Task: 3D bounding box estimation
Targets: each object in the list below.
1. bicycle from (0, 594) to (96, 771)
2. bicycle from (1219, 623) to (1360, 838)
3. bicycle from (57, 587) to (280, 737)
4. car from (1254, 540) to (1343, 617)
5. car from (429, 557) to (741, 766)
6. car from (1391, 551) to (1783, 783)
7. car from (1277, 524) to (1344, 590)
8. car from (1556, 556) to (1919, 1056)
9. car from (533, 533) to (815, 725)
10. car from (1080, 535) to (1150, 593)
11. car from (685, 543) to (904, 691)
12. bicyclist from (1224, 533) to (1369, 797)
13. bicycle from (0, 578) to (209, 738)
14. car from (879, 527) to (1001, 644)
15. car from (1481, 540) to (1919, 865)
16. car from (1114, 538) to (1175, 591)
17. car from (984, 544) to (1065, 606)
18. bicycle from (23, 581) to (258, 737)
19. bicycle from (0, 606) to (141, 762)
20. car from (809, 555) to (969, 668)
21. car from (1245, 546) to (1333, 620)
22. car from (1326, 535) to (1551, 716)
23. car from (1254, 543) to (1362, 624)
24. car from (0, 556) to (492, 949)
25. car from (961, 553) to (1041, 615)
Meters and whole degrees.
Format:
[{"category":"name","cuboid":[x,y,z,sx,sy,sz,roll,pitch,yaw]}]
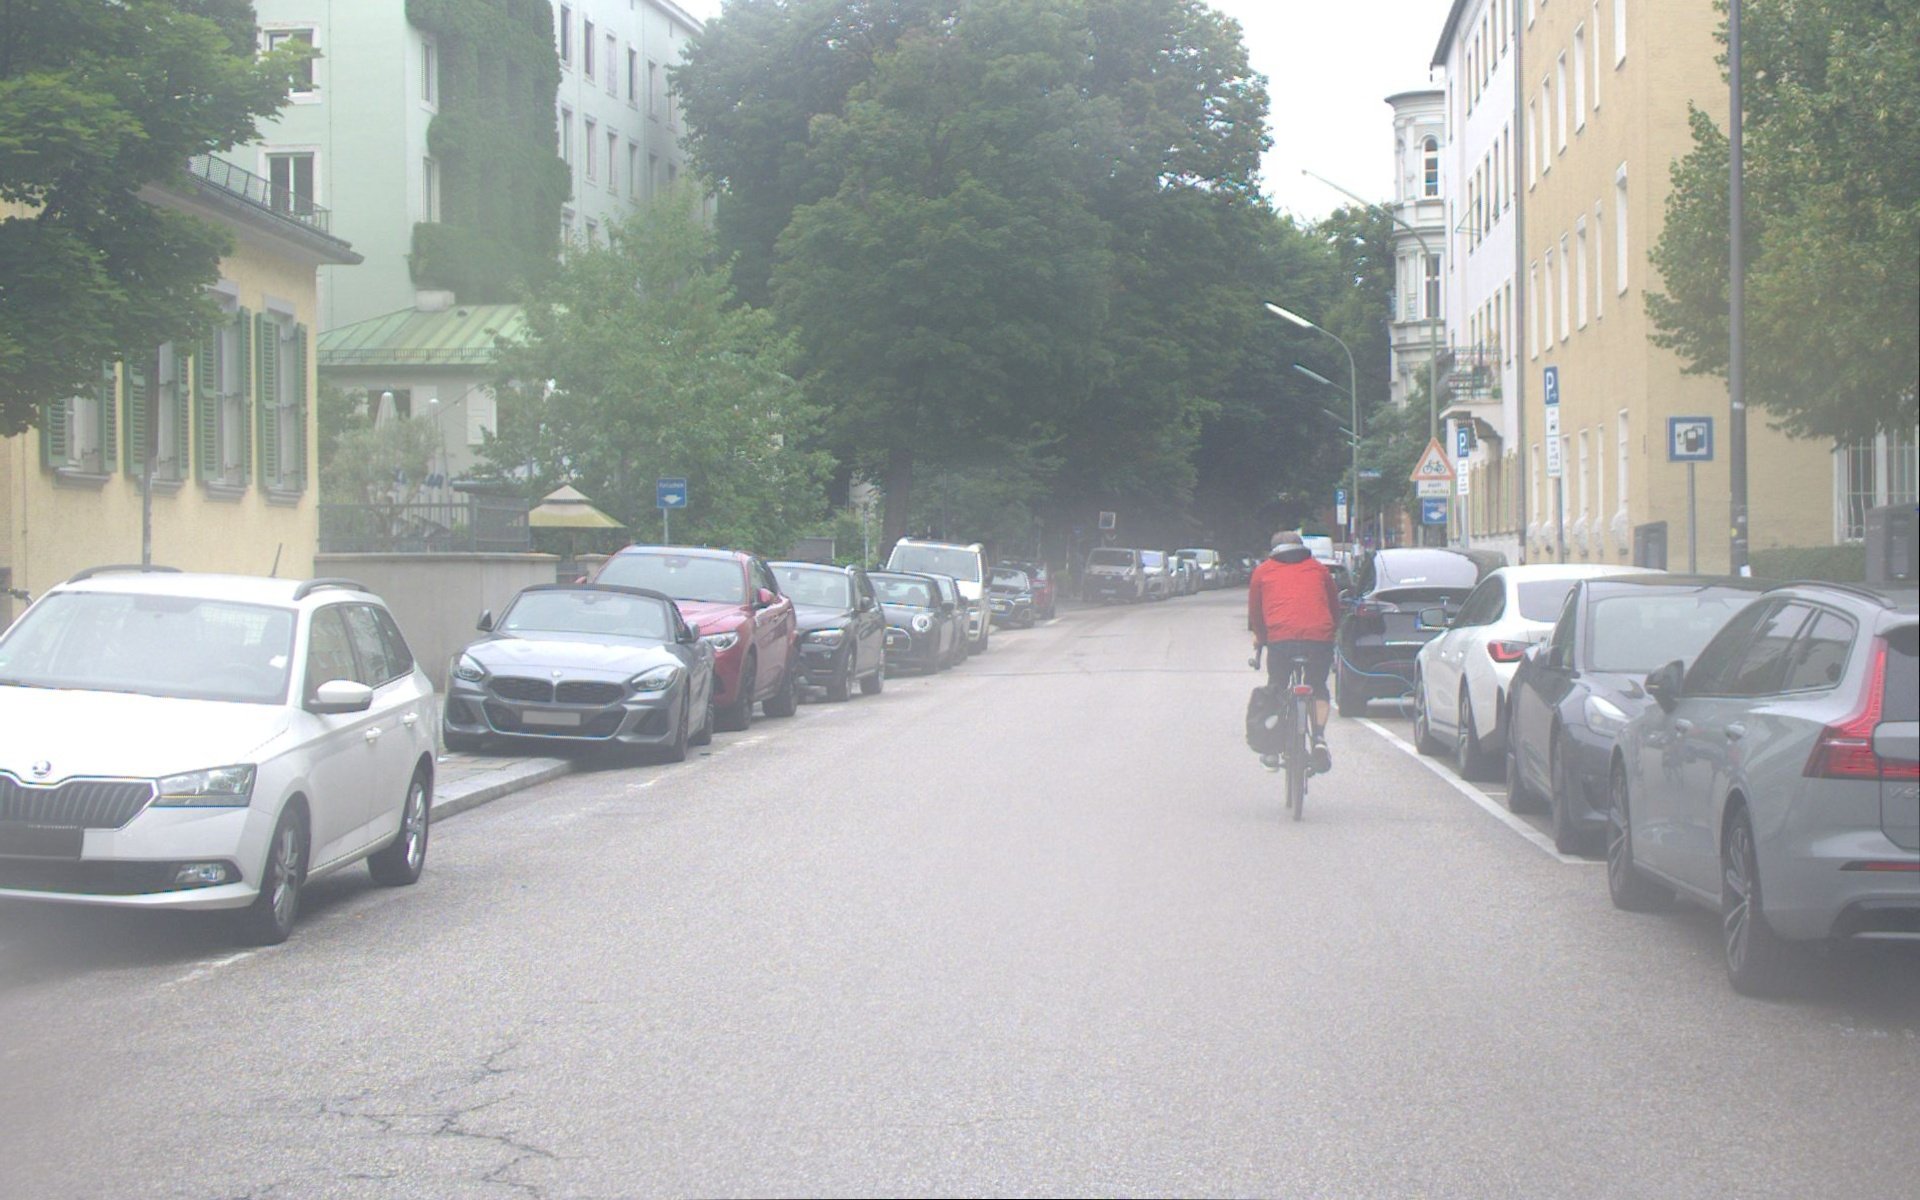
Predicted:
[{"category":"bicycle","cuboid":[-6.353,0.527,21.652,1.629,1.084,0.638,-2,2,-36]},{"category":"bicycle","cuboid":[1.923,0.721,19.865,0.672,1.137,2.010,1,1,9]},{"category":"bicycle","cuboid":[-6.129,0.478,26.648,1.629,1.133,0.387,0,1,3]},{"category":"car","cuboid":[7.962,-0.533,81.280,1.994,1.701,4.534,1,1,5]},{"category":"car","cuboid":[-2.935,0.428,27.863,1.896,1.513,4.655,1,1,1]},{"category":"car","cuboid":[4.327,0.393,24.518,1.993,1.455,4.957,1,1,2]},{"category":"car","cuboid":[12.194,-1.486,119.622,2.204,2.201,4.854,-2,0,6]},{"category":"car","cuboid":[3.624,0.623,13.193,1.947,1.547,5.005,1,1,2]},{"category":"car","cuboid":[-2.670,0.227,33.249,1.902,1.686,4.807,1,1,5]},{"category":"car","cuboid":[5.443,-1.268,120.362,2.248,1.950,5.453,1,1,4]},{"category":"car","cuboid":[-1.860,0.153,40.120,1.846,1.602,4.742,1,1,6]},{"category":"bicyclist","cuboid":[1.956,0.363,19.890,0.755,1.478,0.981,1,0,9]},{"category":"bicycle","cuboid":[-6.448,0.421,25.584,1.629,1.169,0.466,0,1,12]},{"category":"car","cuboid":[-0.314,-0.290,61.997,1.966,1.983,5.151,1,1,2]},{"category":"car","cuboid":[4.086,0.464,19.064,1.962,1.547,4.849,1,1,4]},{"category":"car","cuboid":[7.097,-1.378,131.964,2.184,1.950,5.166,1,1,4]},{"category":"car","cuboid":[1.770,-0.687,92.438,1.887,1.585,4.527,1,1,4]},{"category":"bicycle","cuboid":[-6.258,0.447,26.278,1.701,1.168,0.352,0,1,3]},{"category":"bicycle","cuboid":[-6.578,0.562,23.654,1.724,1.024,0.644,1,2,11]},{"category":"car","cuboid":[-1.001,0.142,50.959,1.859,1.539,4.187,-2,1,5]},{"category":"car","cuboid":[7.292,-0.401,76.017,1.839,1.526,4.415,-1,1,6]},{"category":"car","cuboid":[4.650,0.197,34.054,1.994,1.625,5.099,1,1,6]},{"category":"car","cuboid":[7.099,-0.366,70.577,1.860,1.571,4.899,-1,1,2]},{"category":"car","cuboid":[-3.413,0.561,15.532,1.725,1.487,4.461,1,1,3]},{"category":"car","cuboid":[1.020,-0.407,82.734,1.807,1.397,4.924,1,1,2]}]
